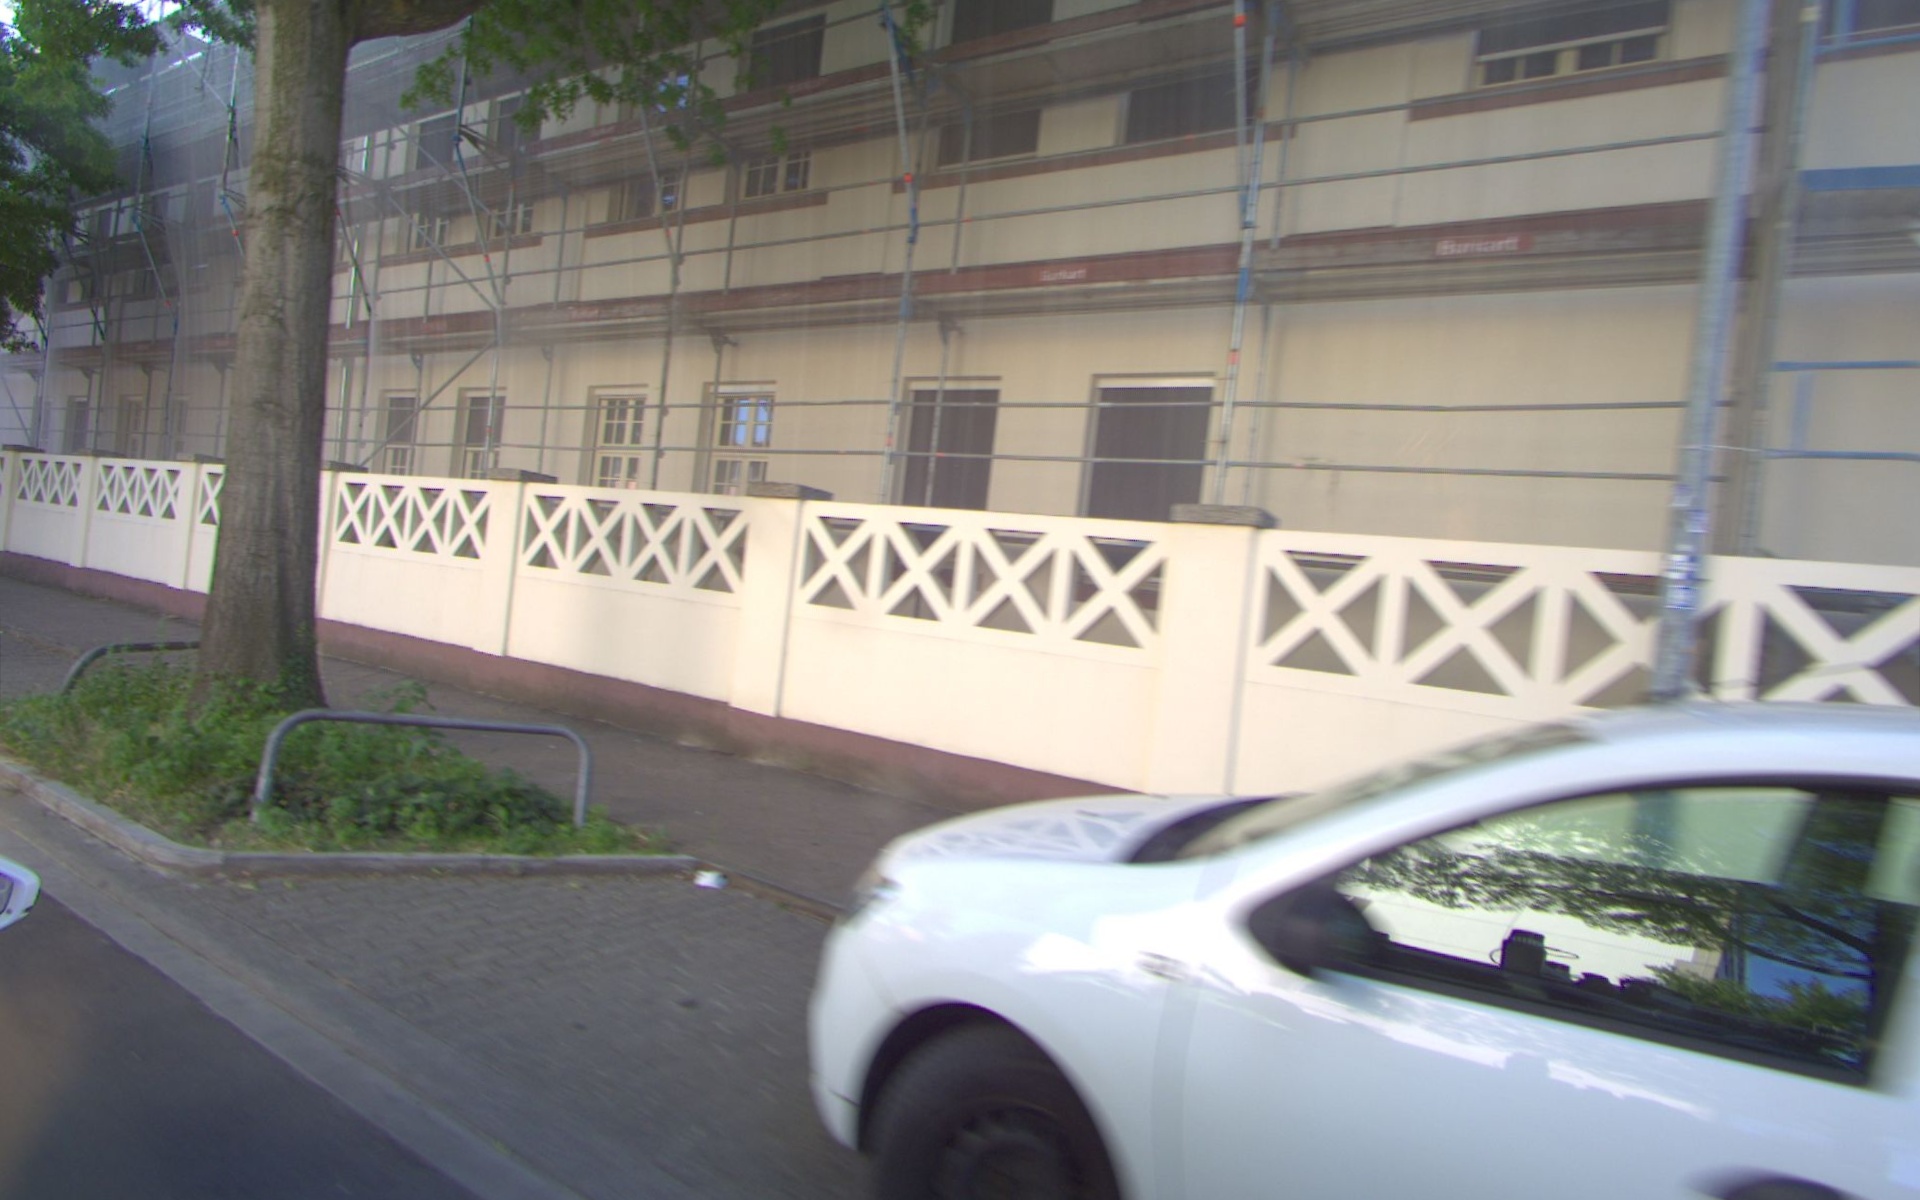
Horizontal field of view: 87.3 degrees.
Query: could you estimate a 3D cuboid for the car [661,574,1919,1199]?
[{"bbox_3d":[1.375,0.933,2.193,3.928,1.530,1.723,7,1,35],"label":"car"}]
